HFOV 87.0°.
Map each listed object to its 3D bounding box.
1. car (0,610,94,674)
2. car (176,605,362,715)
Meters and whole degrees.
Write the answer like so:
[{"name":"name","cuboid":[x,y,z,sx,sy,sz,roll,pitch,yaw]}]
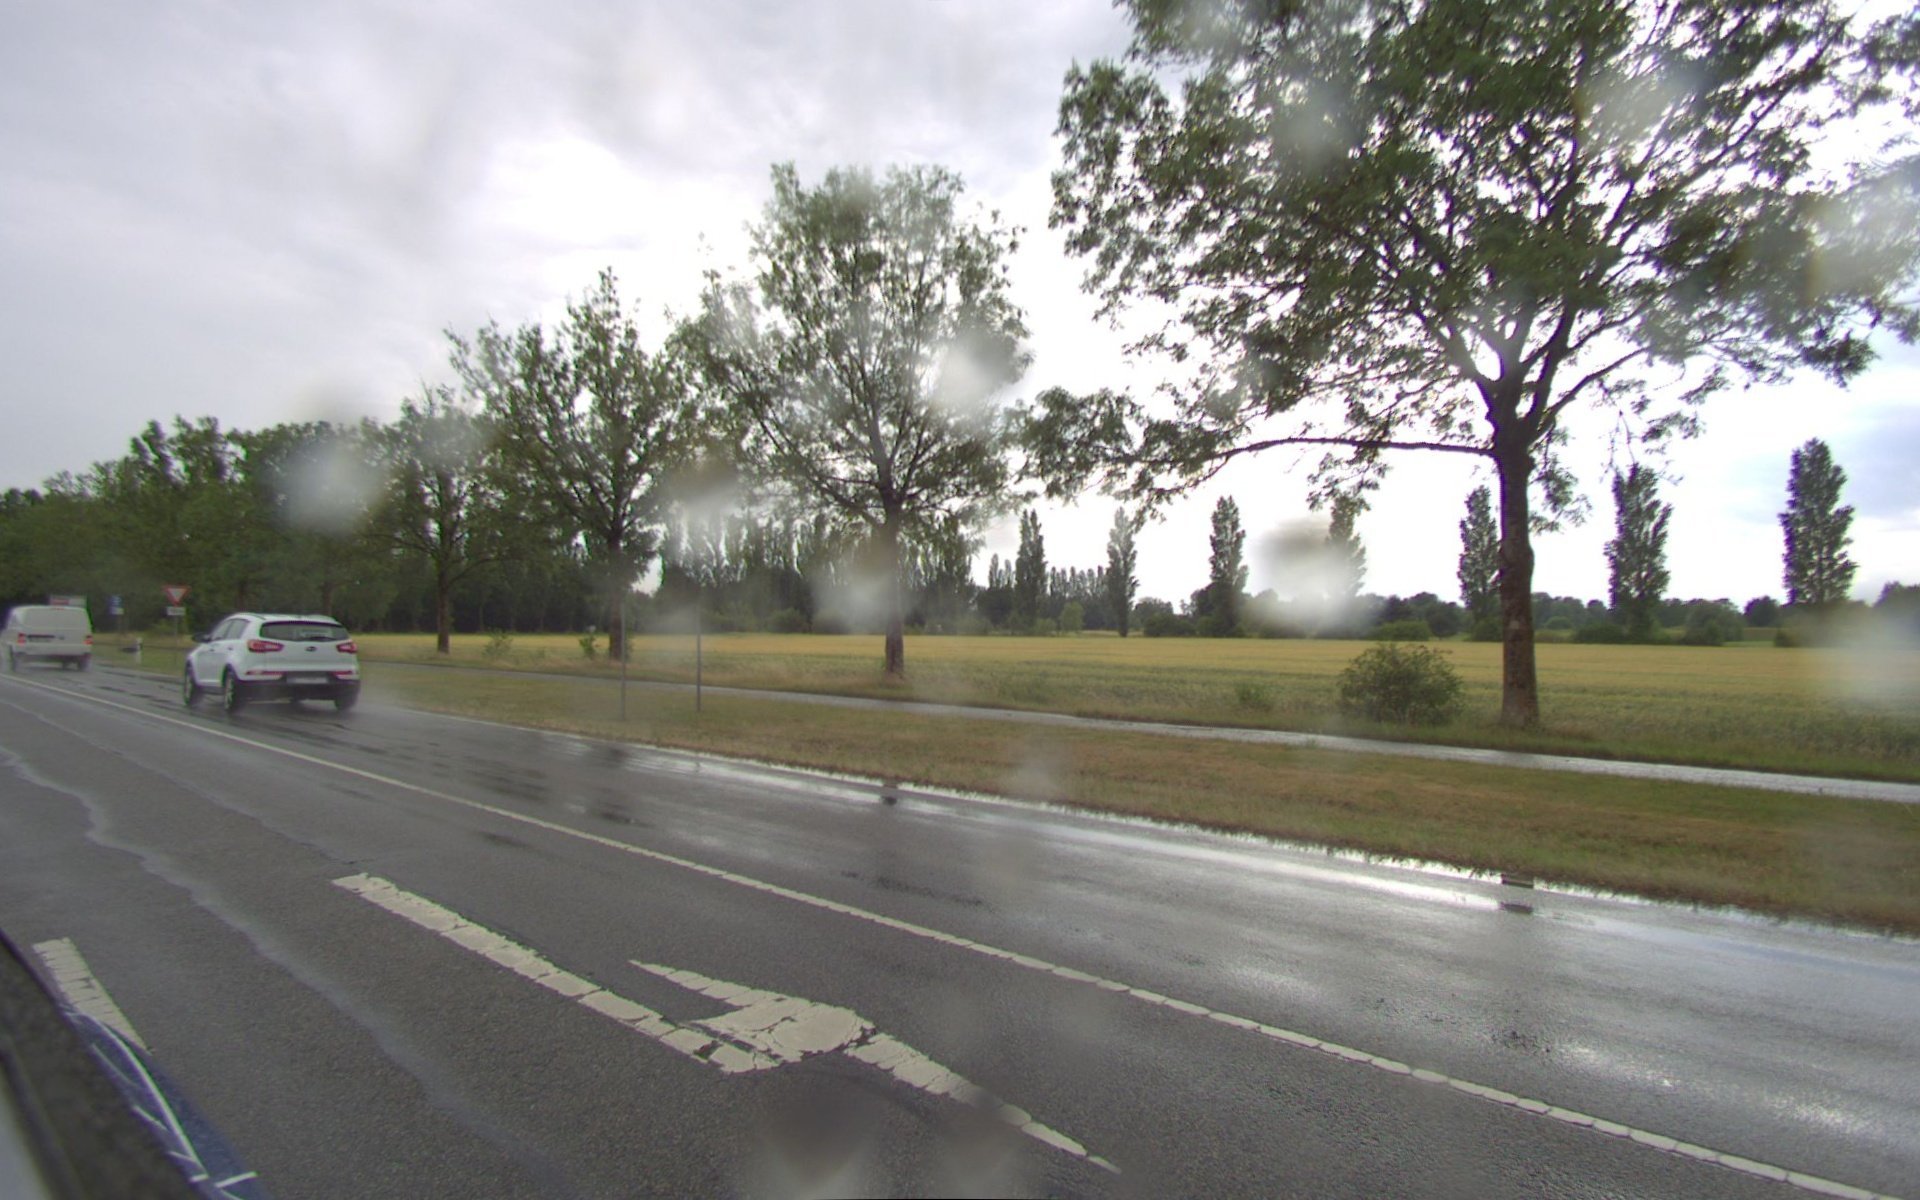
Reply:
[{"name":"car","cuboid":[-29.301,1.315,32.229,4.682,1.876,1.896,-1,-4,41]},{"name":"car","cuboid":[-12.071,1.000,17.587,4.155,1.684,1.685,-1,-4,42]}]
